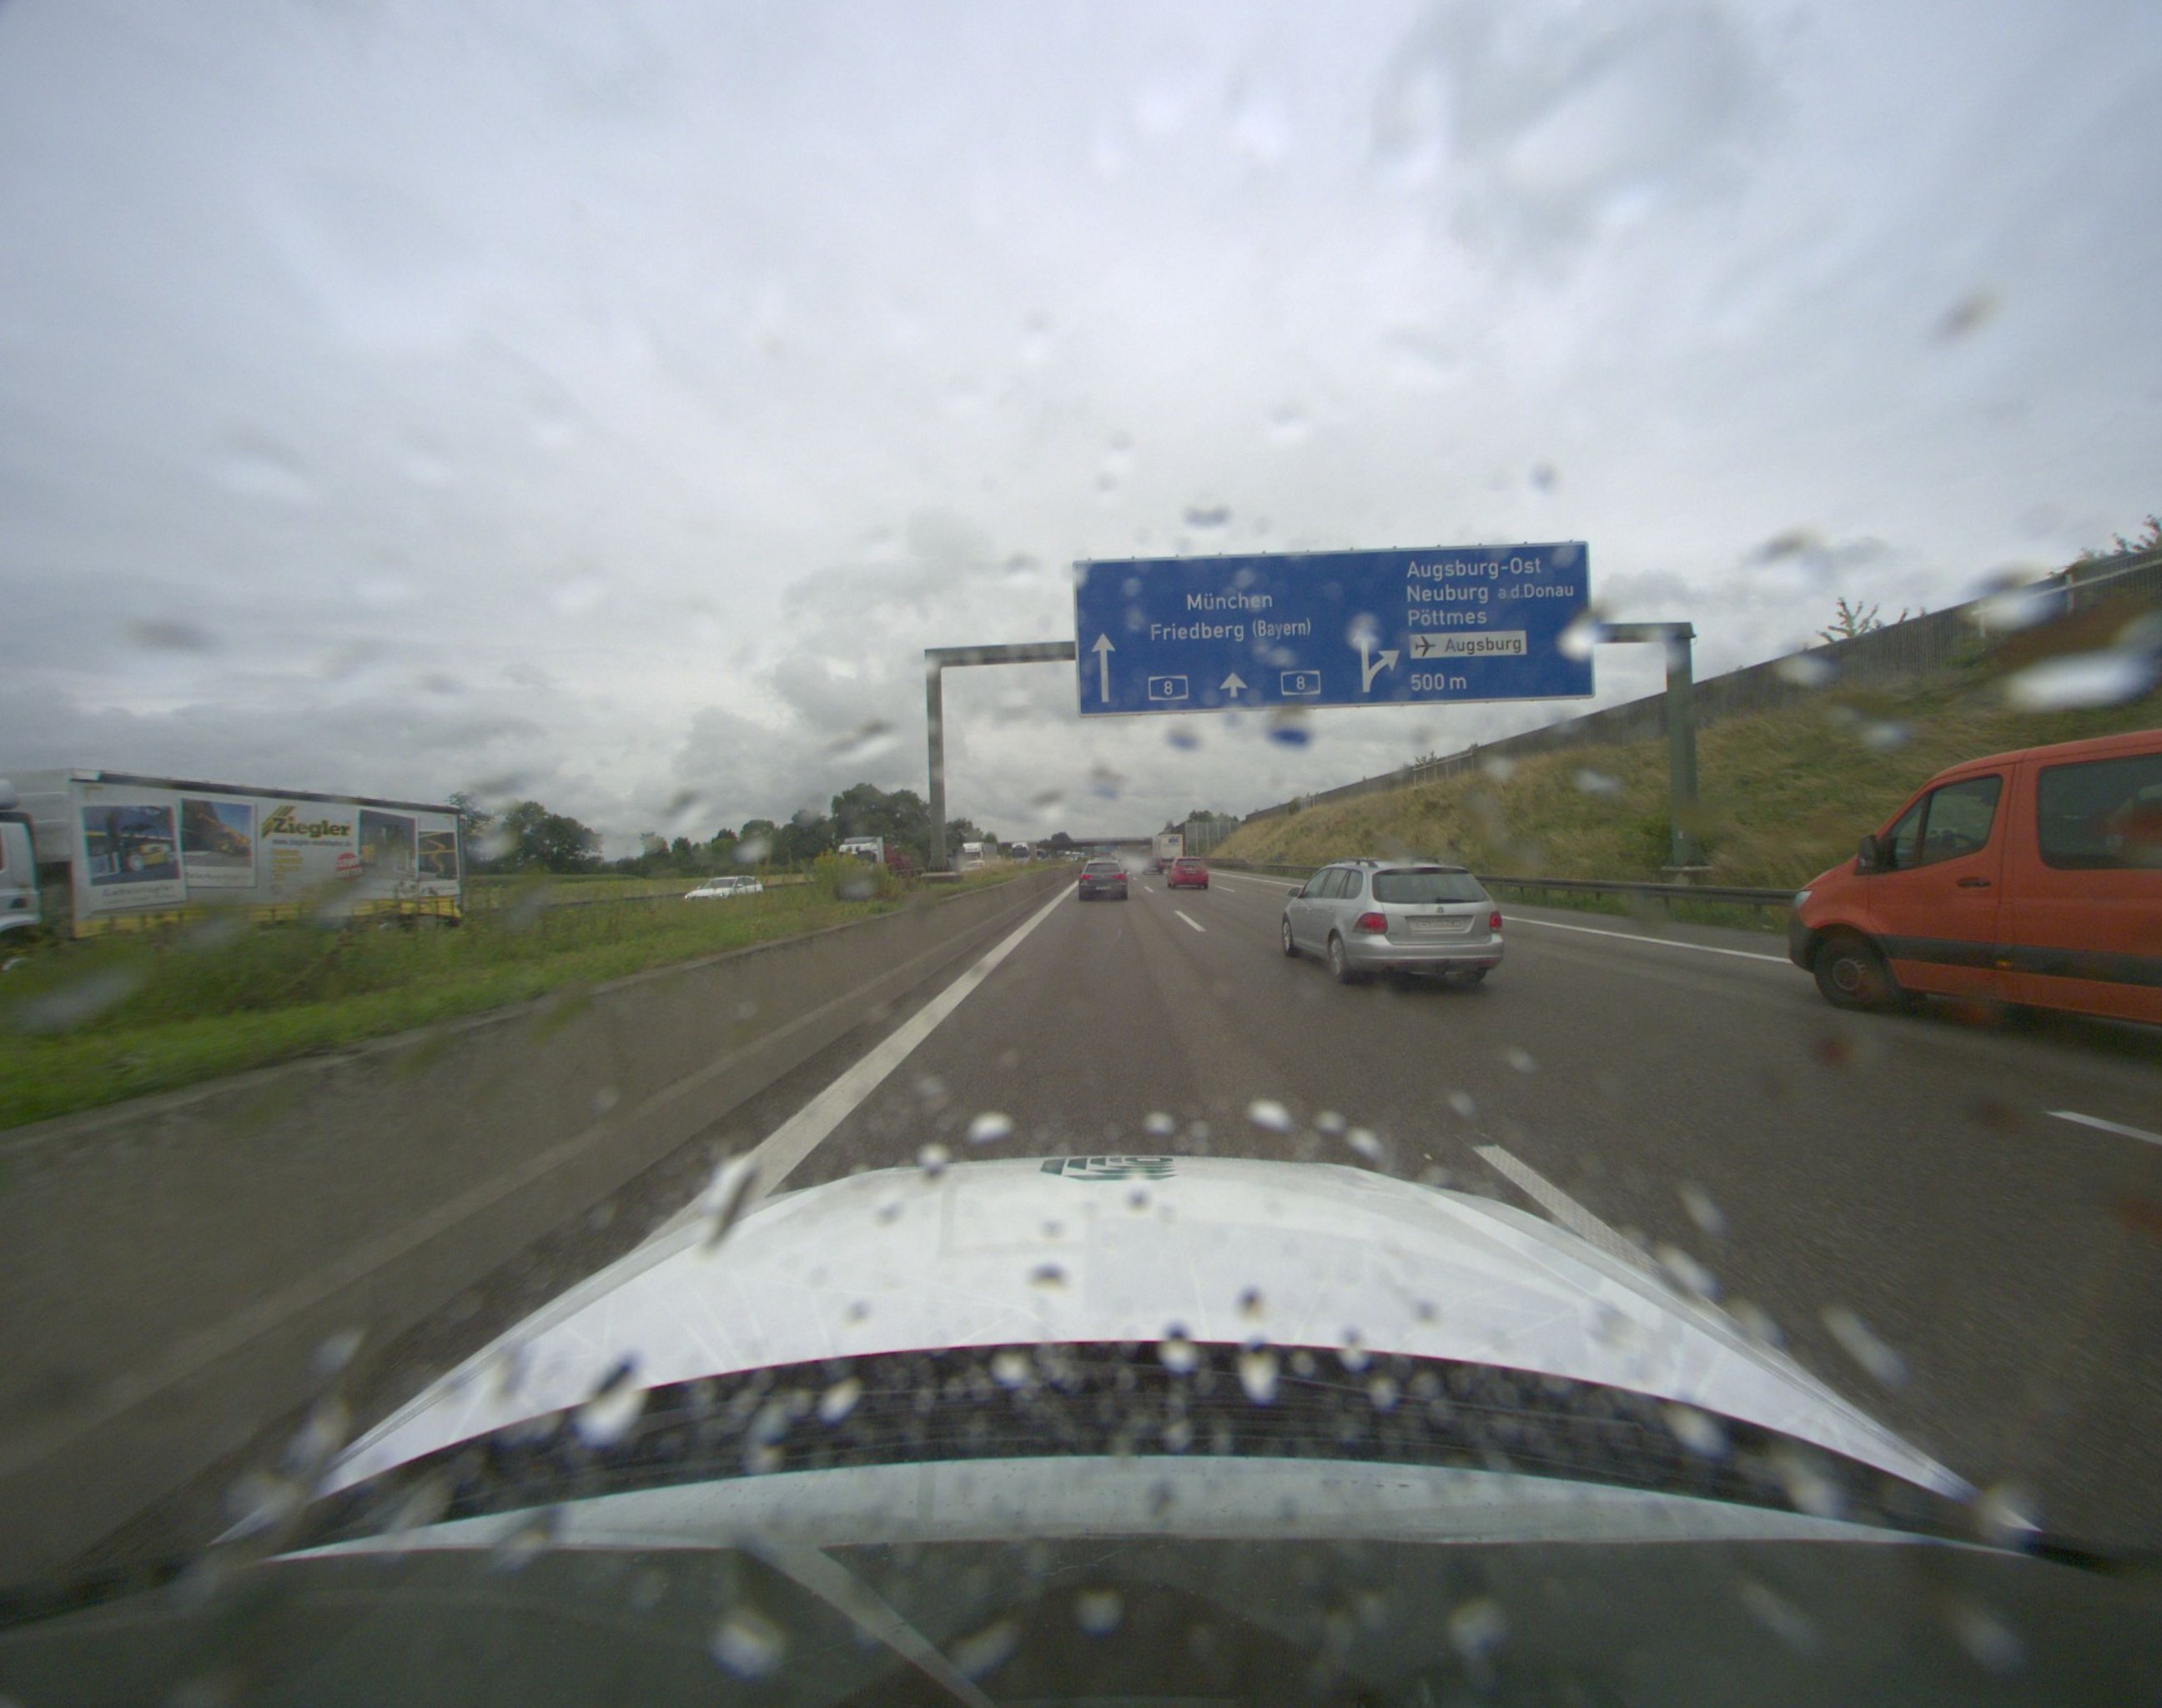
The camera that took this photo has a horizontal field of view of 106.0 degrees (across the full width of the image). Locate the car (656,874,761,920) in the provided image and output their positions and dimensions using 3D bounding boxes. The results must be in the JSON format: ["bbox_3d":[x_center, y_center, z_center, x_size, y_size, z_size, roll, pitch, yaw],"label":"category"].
[{"bbox_3d":[-15.414,1.744,34.024,1.986,1.717,4.839,0,-1,2],"label":"car"}]

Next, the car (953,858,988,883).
[{"bbox_3d":[-7.633,1.133,56.677,1.774,1.717,4.002,0,-1,2],"label":"car"}]

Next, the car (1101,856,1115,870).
[{"bbox_3d":[3.625,1.184,108.878,1.699,1.796,3.854,-3,0,0],"label":"car"}]

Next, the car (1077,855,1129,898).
[{"bbox_3d":[0.755,0.776,29.762,1.763,1.467,3.999,0,-1,0],"label":"car"}]

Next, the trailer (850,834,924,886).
[{"bbox_3d":[-15.182,0.349,64.913,2.631,3.725,12.199,0,1,2],"label":"trailer"}]

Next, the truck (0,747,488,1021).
[{"bbox_3d":[-19.404,0.547,18.263,3.501,4.484,11.785,0,-1,0],"label":"truck"}]

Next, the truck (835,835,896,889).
[{"bbox_3d":[-15.395,0.496,58.610,2.631,3.725,5.874,0,1,2],"label":"truck"}]

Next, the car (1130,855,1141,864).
[{"bbox_3d":[10.682,1.076,160.278,1.839,1.687,4.000,0,-1,1],"label":"car"}]

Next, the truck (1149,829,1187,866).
[{"bbox_3d":[10.957,-0.704,104.293,3.271,4.295,19.037,0,-1,1],"label":"truck"}]

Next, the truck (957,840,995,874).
[{"bbox_3d":[-13.385,0.404,104.348,3.601,4.275,7.594,0,-1,2],"label":"truck"}]

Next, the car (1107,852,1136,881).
[{"bbox_3d":[2.731,0.847,55.827,1.819,1.850,4.001,-2,0,2],"label":"car"}]

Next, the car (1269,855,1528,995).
[{"bbox_3d":[3.866,0.759,10.837,1.735,1.425,4.517,-2,0,1],"label":"car"}]

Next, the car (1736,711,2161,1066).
[{"bbox_3d":[8.094,0.208,5.754,2.078,2.315,6.184,-1,0,2],"label":"car"}]

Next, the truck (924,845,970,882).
[{"bbox_3d":[-10.956,0.764,67.000,2.303,2.908,7.427,0,-1,2],"label":"truck"}]

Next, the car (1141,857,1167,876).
[{"bbox_3d":[6.228,1.051,69.799,1.914,1.522,4.623,-1,0,1],"label":"car"}]

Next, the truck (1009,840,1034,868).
[{"bbox_3d":[-8.858,0.031,121.447,3.081,3.976,6.374,0,-1,2],"label":"truck"}]

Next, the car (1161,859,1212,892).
[{"bbox_3d":[5.001,0.978,39.049,1.884,1.446,4.685,-1,0,1],"label":"car"}]
